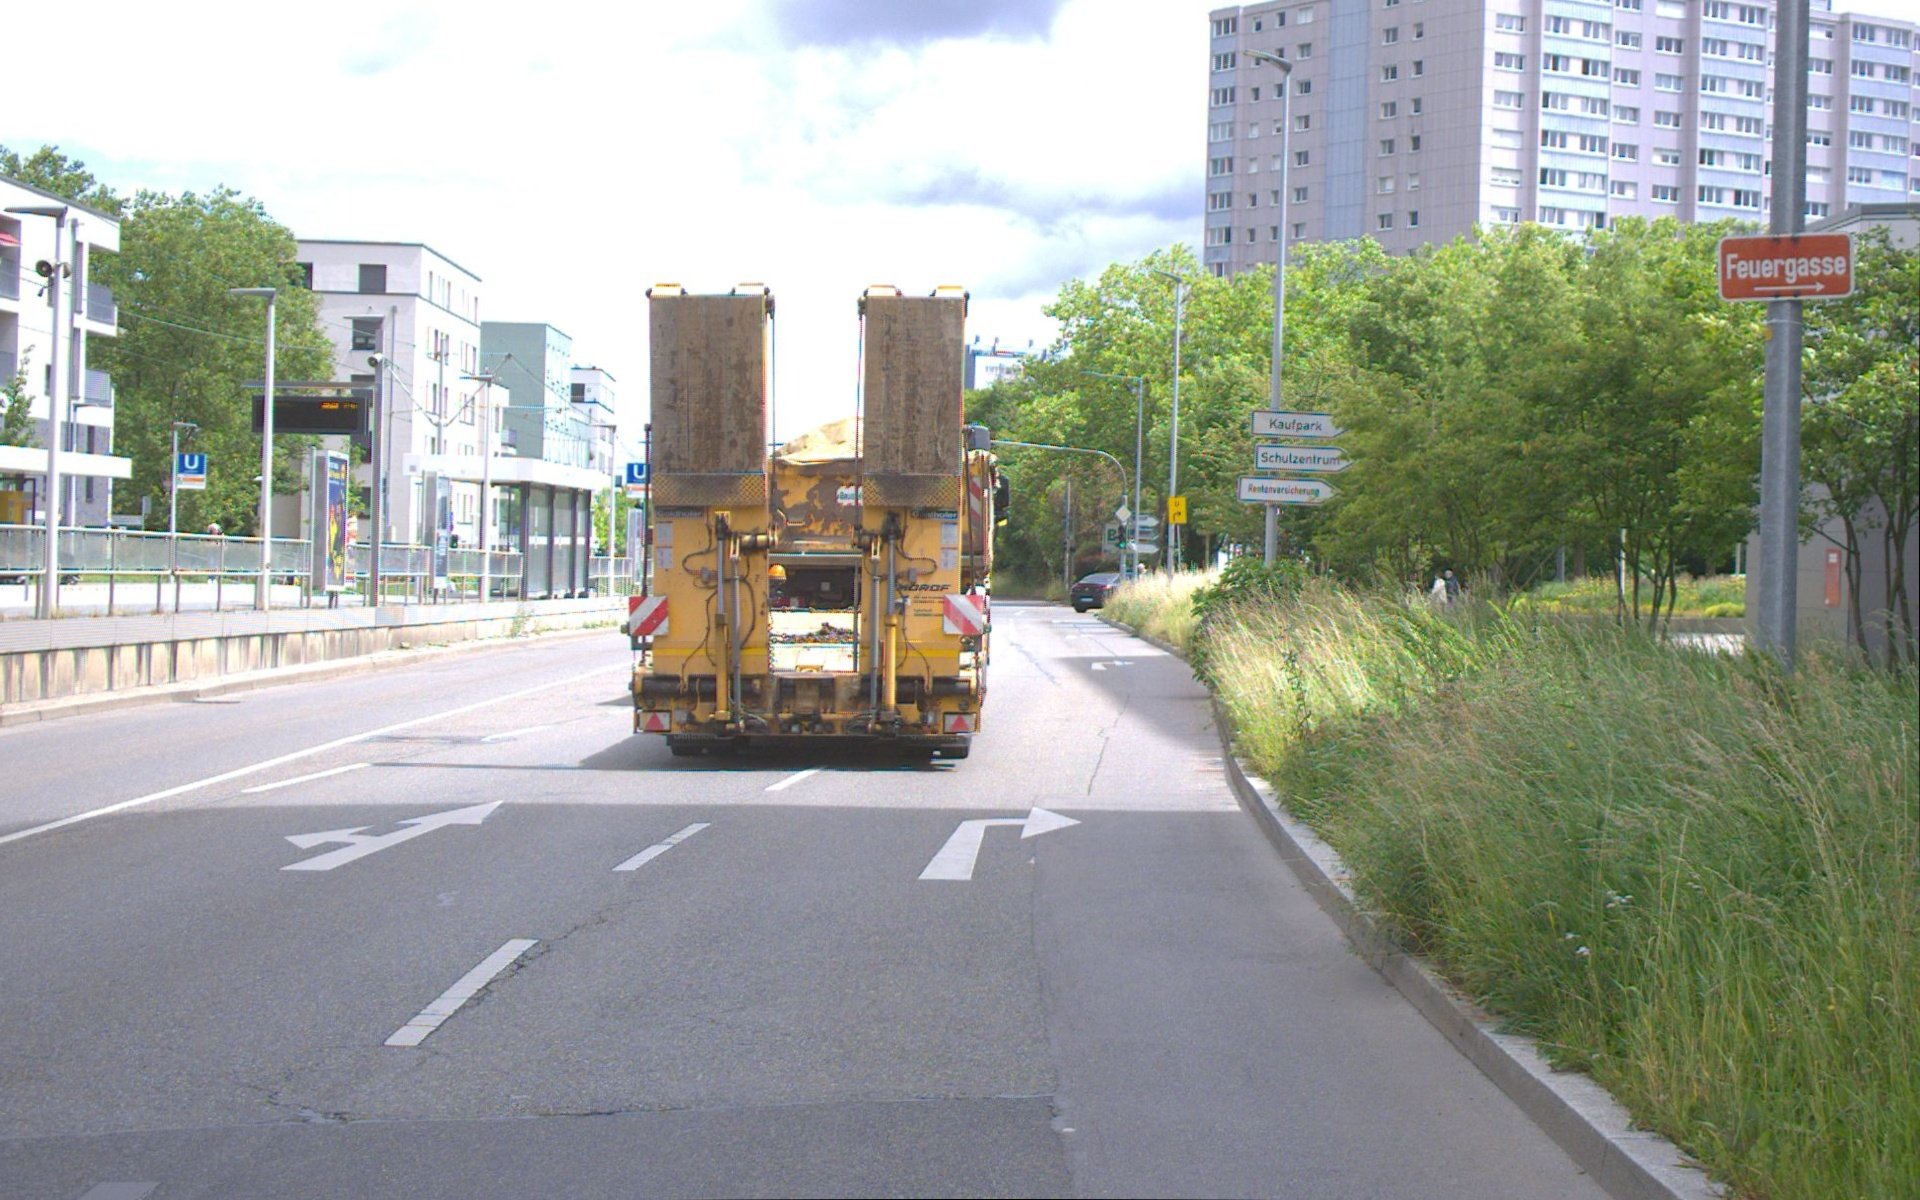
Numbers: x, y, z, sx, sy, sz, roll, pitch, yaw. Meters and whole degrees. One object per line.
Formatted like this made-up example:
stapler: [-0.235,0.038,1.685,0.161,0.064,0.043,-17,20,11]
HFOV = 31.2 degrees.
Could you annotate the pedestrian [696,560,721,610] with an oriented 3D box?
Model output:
pedestrian: [-8.044,-0.485,109.948,0.681,1.597,0.823,2,0,0]

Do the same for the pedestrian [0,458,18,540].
pedestrian: [-18.865,-1.980,67.165,0.488,1.591,0.676,2,1,36]

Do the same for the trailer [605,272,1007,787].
trailer: [-1.014,-0.558,29.855,2.729,3.546,11.253,2,1,1]

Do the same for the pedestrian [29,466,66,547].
pedestrian: [-20.030,-2.053,75.502,0.561,1.760,0.677,2,0,3]

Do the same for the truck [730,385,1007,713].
truck: [-0.904,-0.575,39.660,2.753,3.302,8.352,2,1,1]
